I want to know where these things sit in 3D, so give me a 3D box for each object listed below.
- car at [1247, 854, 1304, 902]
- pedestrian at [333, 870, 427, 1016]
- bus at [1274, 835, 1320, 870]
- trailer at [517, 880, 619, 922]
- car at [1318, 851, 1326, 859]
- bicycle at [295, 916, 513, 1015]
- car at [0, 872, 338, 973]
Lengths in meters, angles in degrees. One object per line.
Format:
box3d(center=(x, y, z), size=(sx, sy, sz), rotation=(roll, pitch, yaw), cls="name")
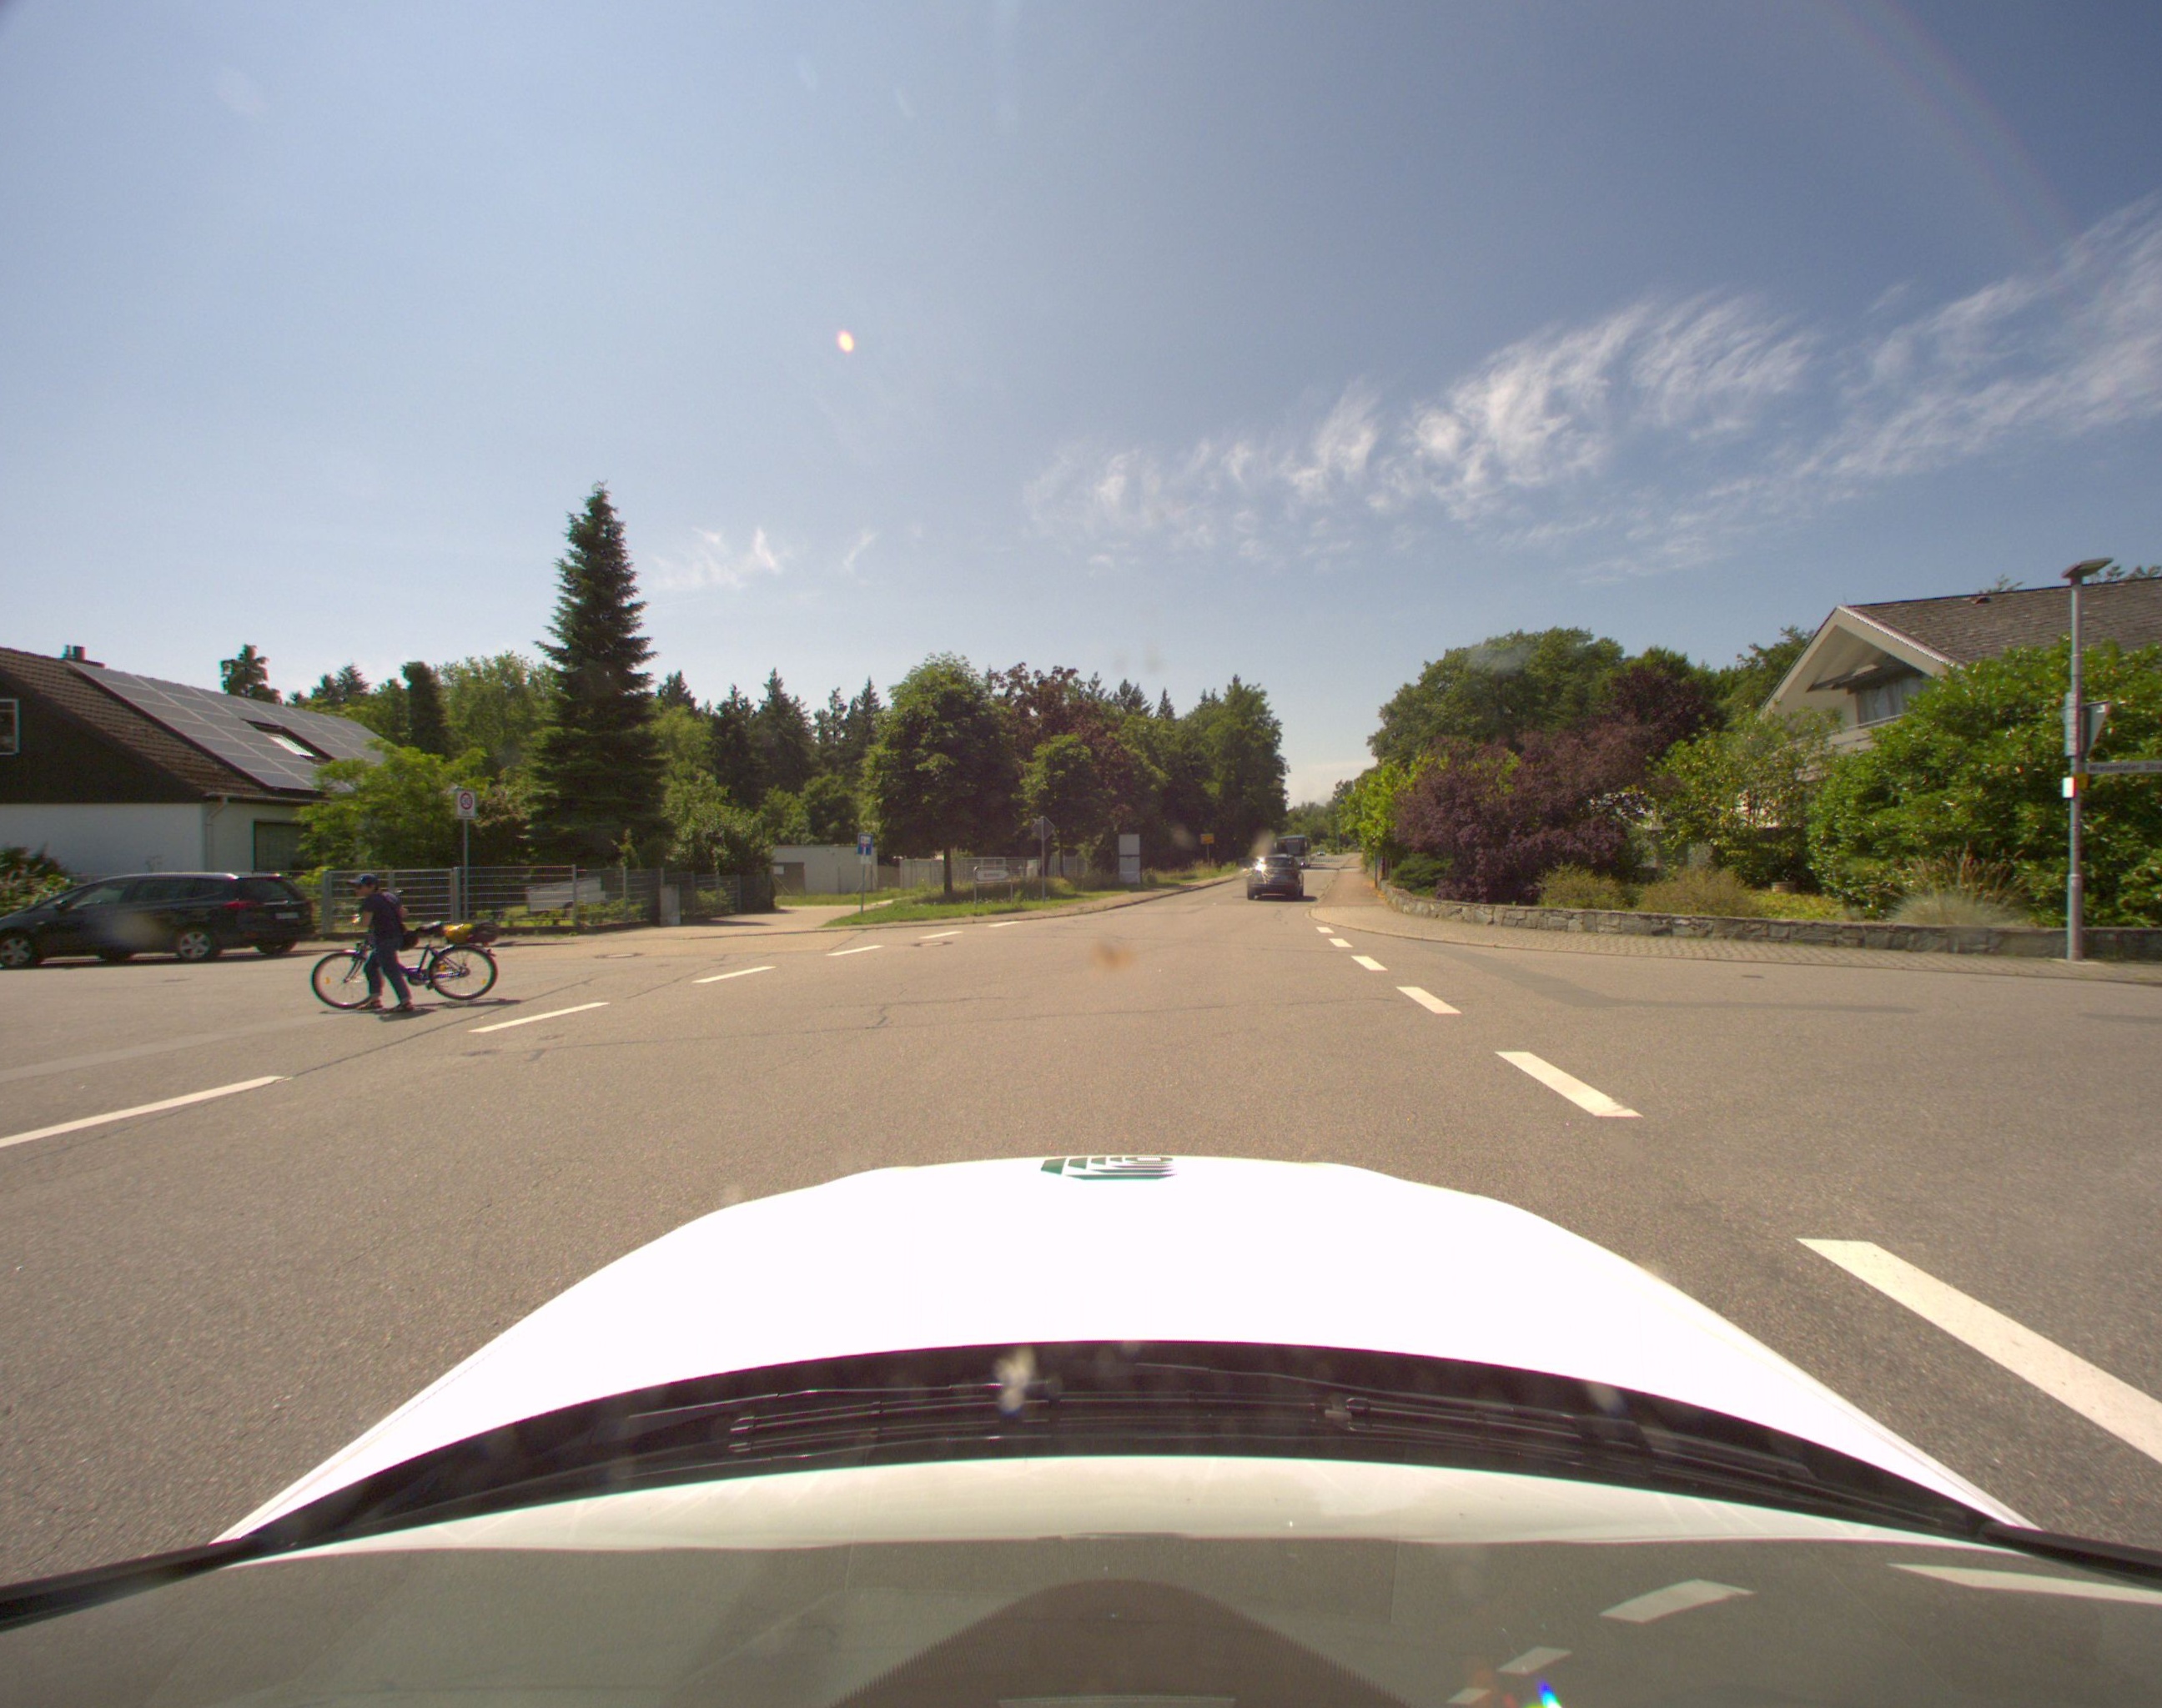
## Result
box3d(center=(7.130, 0.821, 29.602), size=(1.748, 1.618, 4.018), rotation=(0, -1, 18), cls="car")
box3d(center=(-7.552, 0.932, 8.794), size=(0.611, 1.501, 0.501), rotation=(-1, -1, -18), cls="pedestrian")
box3d(center=(21.962, -0.165, 82.279), size=(3.154, 3.244, 12.776), rotation=(-1, 0, 20), cls="bus")
box3d(center=(-14.766, 1.330, 23.524), size=(2.219, 1.084, 1.100), rotation=(-1, 0, -15), cls="trailer")
box3d(center=(61.107, 0.274, 206.710), size=(1.936, 1.860, 4.016), rotation=(-1, 0, 15), cls="car")
box3d(center=(-7.640, 1.238, 9.273), size=(1.848, 0.964, 0.440), rotation=(-1, 0, -19), cls="bicycle")
box3d(center=(-17.591, 1.241, 15.584), size=(4.662, 1.662, 1.965), rotation=(-1, 0, -7), cls="car")
